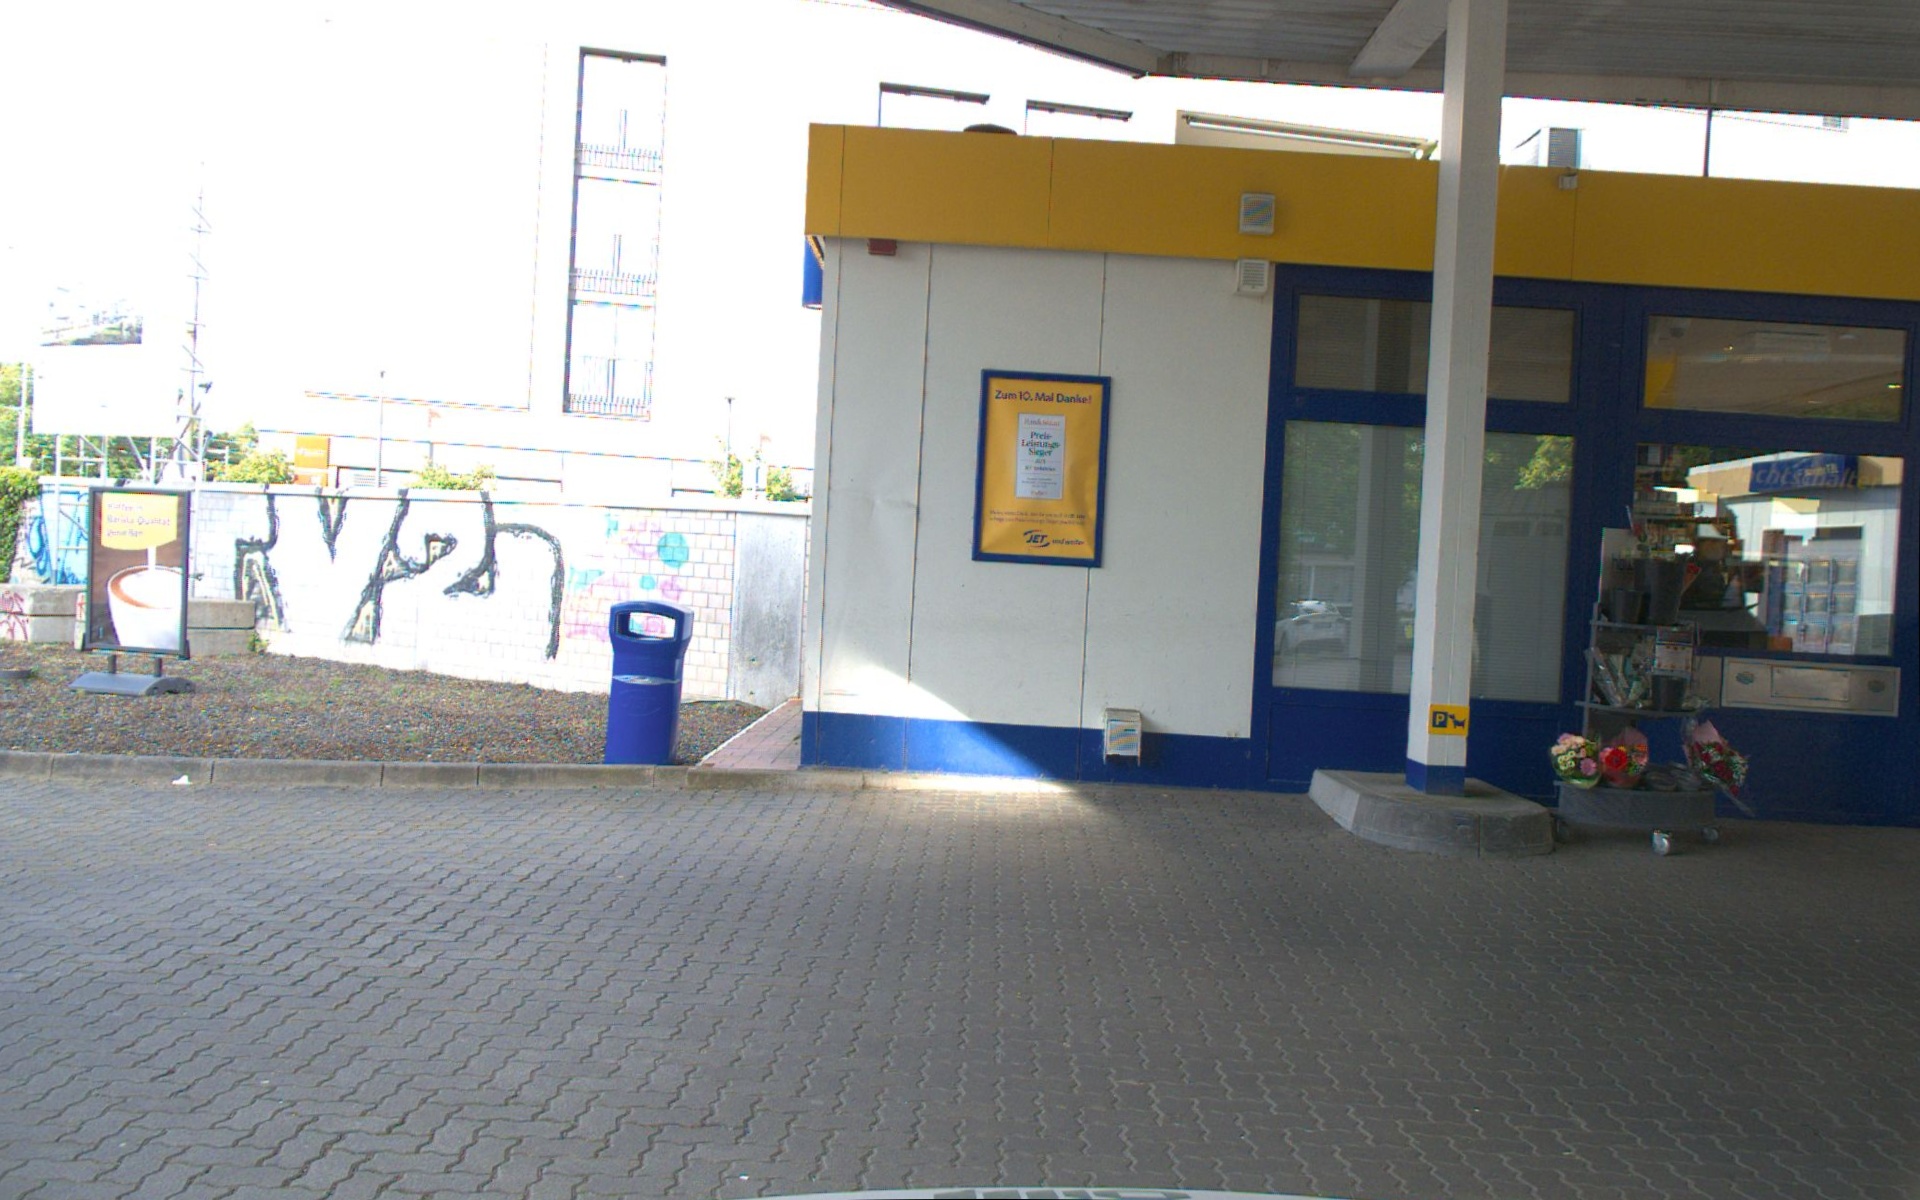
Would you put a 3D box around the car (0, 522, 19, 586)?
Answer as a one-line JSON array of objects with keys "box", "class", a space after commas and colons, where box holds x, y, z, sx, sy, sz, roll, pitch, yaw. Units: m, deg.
[{"box": [-24.505, -1.181, 40.559, 1.641, 1.574, 3.693, 4, 1, -17], "class": "car"}]
